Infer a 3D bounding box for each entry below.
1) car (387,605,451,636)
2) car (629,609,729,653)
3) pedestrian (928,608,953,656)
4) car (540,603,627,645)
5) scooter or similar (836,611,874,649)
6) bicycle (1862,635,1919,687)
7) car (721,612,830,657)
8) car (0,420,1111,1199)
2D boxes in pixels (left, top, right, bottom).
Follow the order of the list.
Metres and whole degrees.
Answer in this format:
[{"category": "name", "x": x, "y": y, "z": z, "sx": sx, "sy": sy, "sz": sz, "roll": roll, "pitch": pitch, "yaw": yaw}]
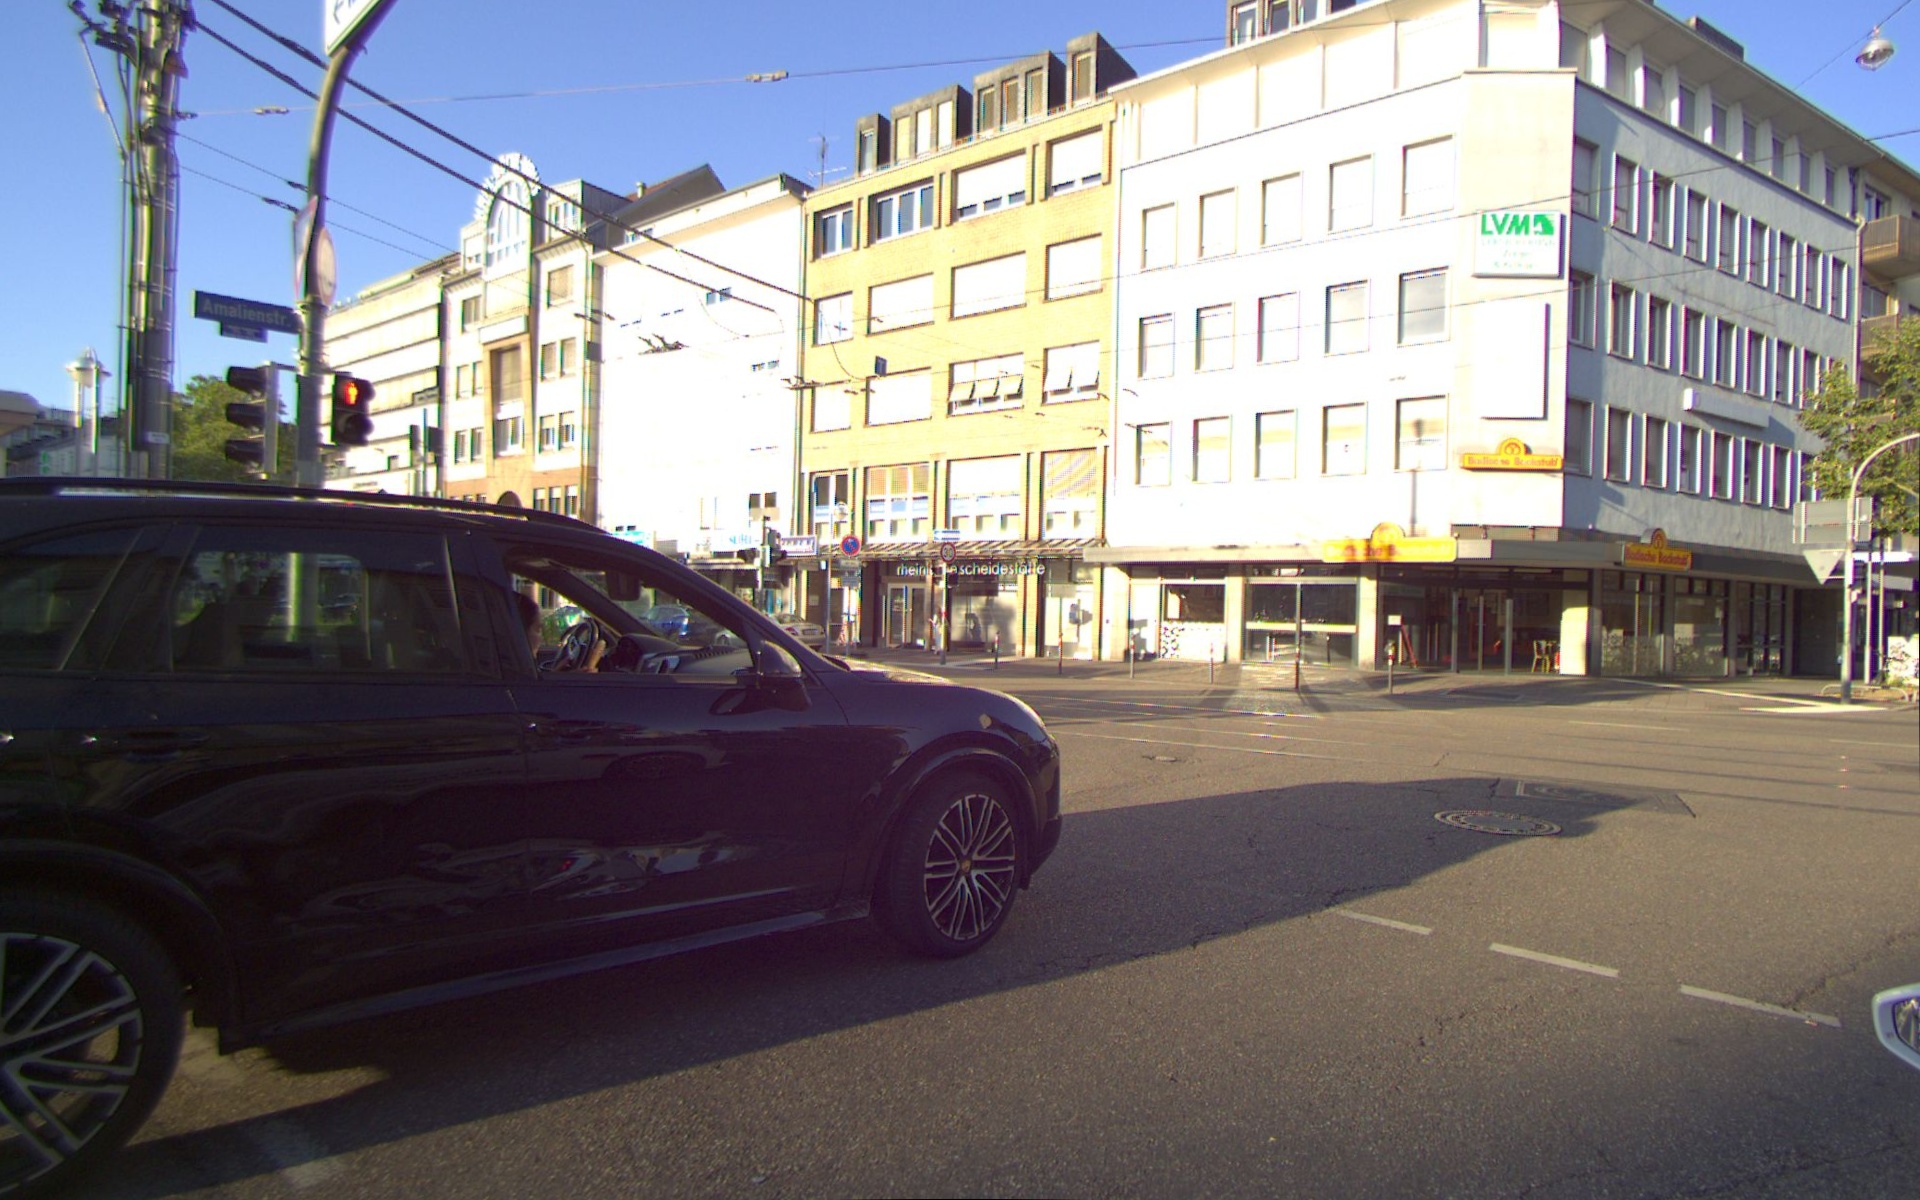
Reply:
[{"category": "car", "x": -24.971, "y": 0.932, "z": 46.341, "sx": 3.097, "sy": 1.309, "sz": 1.455, "roll": 0, "pitch": 2, "yaw": 38}, {"category": "car", "x": -9.688, "y": 1.033, "z": 34.604, "sx": 3.335, "sy": 1.372, "sz": 1.630, "roll": 0, "pitch": 2, "yaw": 38}, {"category": "pedestrian", "x": -0.628, "y": 1.014, "z": 31.860, "sx": 0.613, "sy": 1.492, "sz": 0.543, "roll": 0, "pitch": 2, "yaw": 21}, {"category": "car", "x": -14.502, "y": 0.874, "z": 38.634, "sx": 3.335, "sy": 1.484, "sz": 1.630, "roll": 0, "pitch": 2, "yaw": 38}, {"category": "scooter or similar", "x": -3.681, "y": 1.028, "z": 35.190, "sx": 1.444, "sy": 1.275, "sz": 0.394, "roll": 1, "pitch": 1, "yaw": 39}, {"category": "bicycle", "x": 24.850, "y": 1.605, "z": 25.824, "sx": 0.633, "sy": 1.269, "sz": 2.352, "roll": 2, "pitch": 1, "yaw": -33}, {"category": "car", "x": -5.910, "y": 1.073, "z": 32.050, "sx": 3.335, "sy": 1.270, "sz": 1.630, "roll": 0, "pitch": 2, "yaw": 38}, {"category": "car", "x": -1.660, "y": 0.488, "z": 3.657, "sx": 4.531, "sy": 1.720, "sz": 1.785, "roll": 2, "pitch": 0, "yaw": -40}]
